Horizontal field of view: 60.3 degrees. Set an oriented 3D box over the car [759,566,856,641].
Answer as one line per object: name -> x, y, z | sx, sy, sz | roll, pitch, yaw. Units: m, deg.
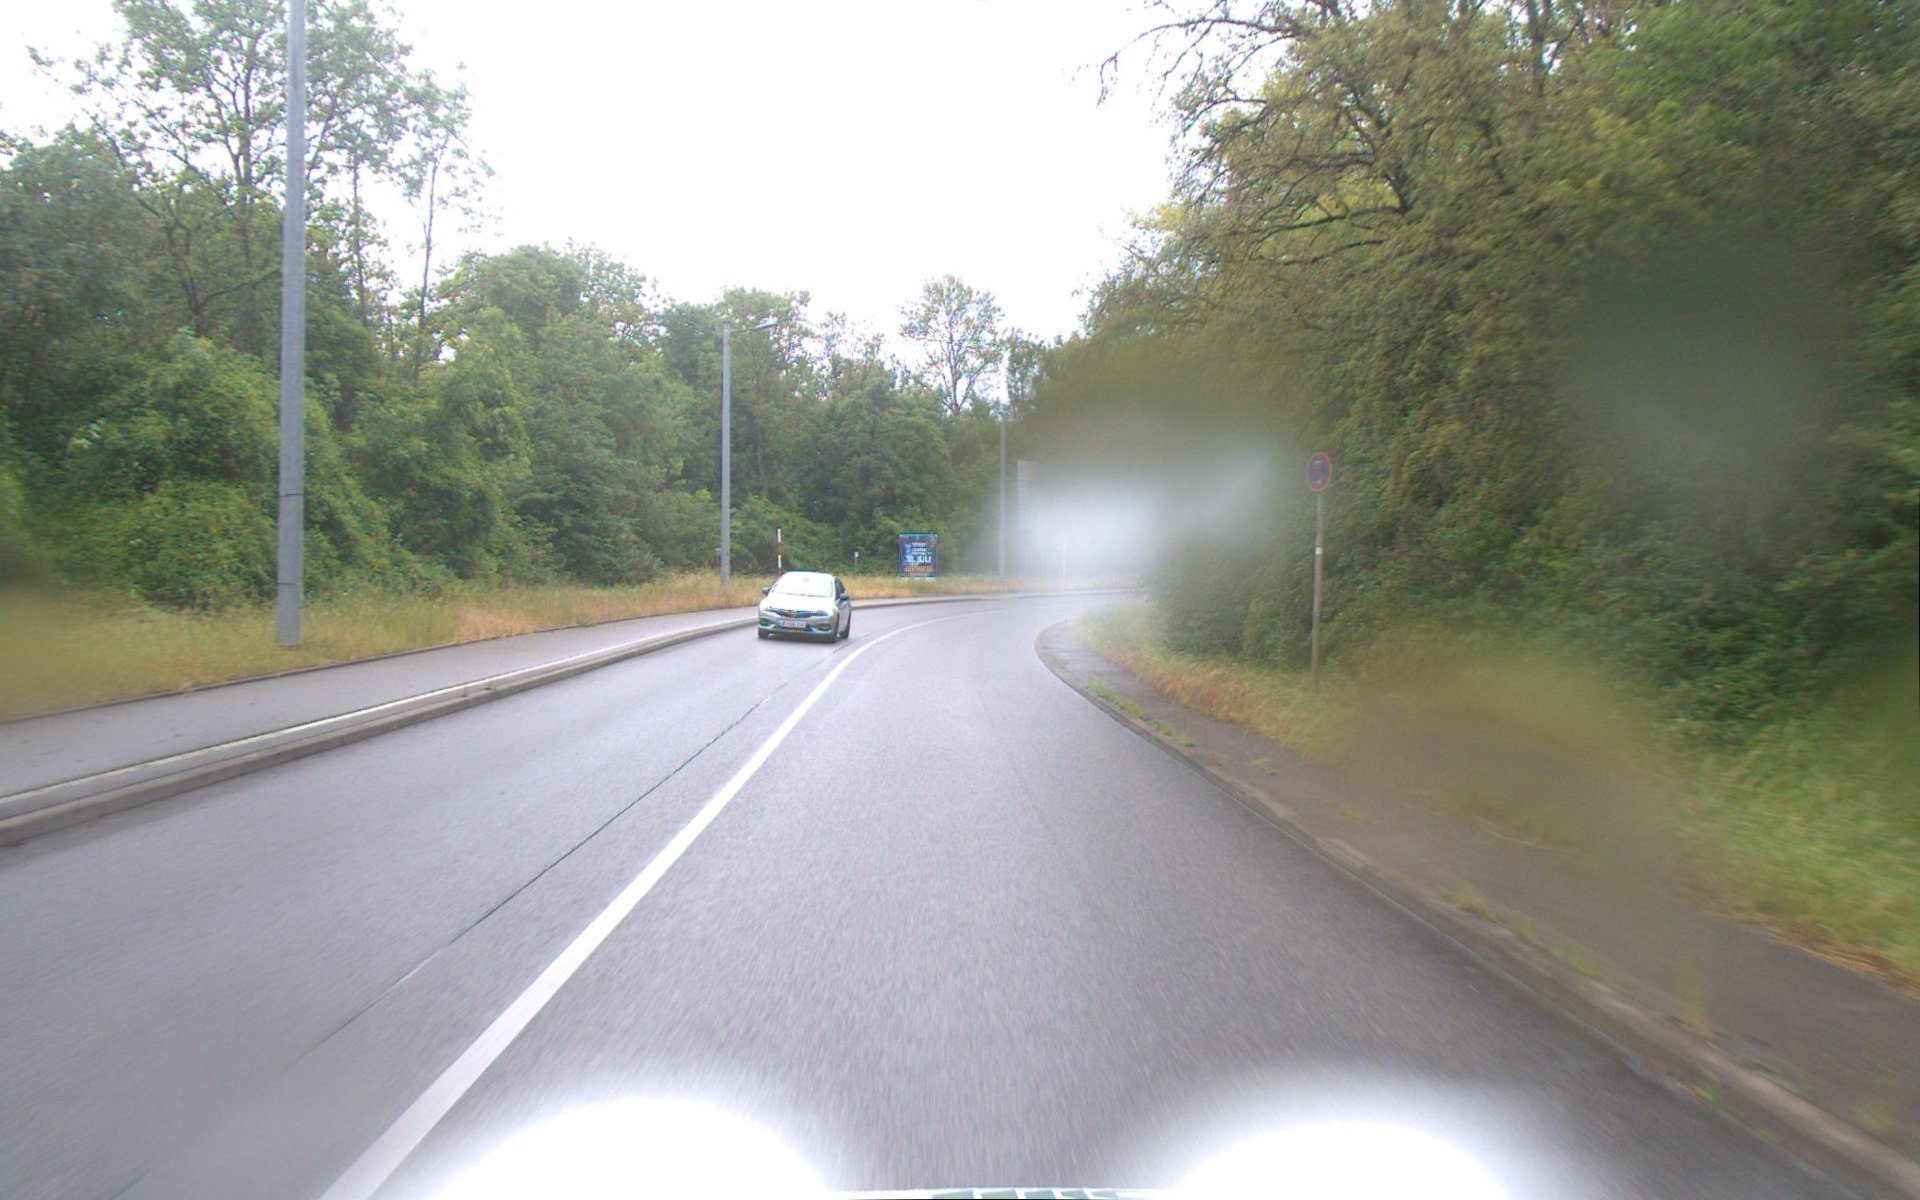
car -> -3.418, 0.028, 37.726 | 1.744, 1.455, 4.475 | 3, 2, 0
